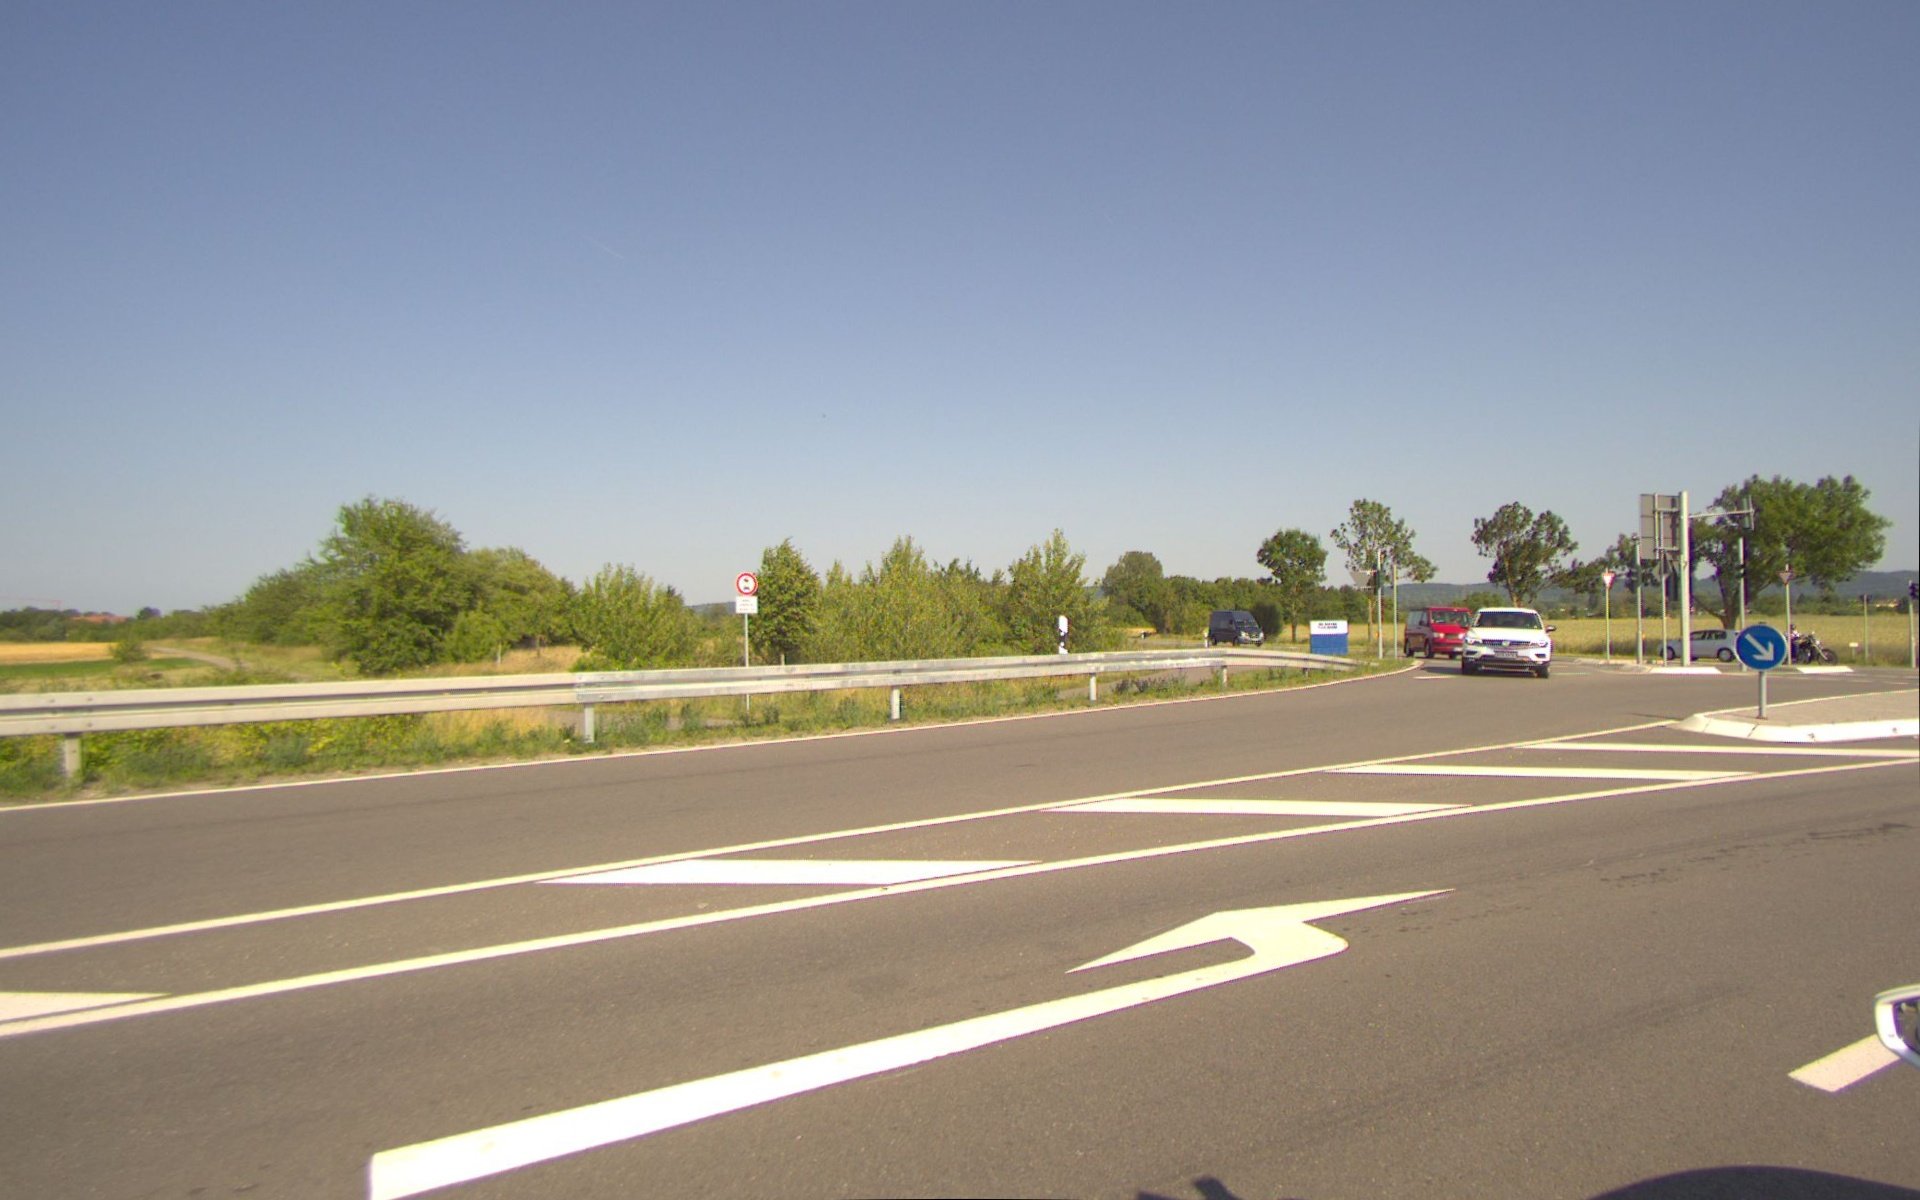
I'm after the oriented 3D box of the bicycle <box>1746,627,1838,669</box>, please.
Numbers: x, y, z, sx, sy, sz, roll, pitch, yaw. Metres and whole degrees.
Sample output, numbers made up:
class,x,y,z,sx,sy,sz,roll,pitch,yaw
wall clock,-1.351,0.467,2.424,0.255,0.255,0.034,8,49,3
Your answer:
class,x,y,z,sx,sy,sz,roll,pitch,yaw
bicycle,30.293,1.727,36.624,0.723,1.416,2.481,1,0,-27

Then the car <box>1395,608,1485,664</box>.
class,x,y,z,sx,sy,sz,roll,pitch,yaw
car,18.427,1.312,38.782,1.802,1.966,4.929,-1,0,9

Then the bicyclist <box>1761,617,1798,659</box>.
class,x,y,z,sx,sy,sz,roll,pitch,yaw
bicyclist,30.142,1.407,36.940,0.747,1.509,0.805,1,0,-26

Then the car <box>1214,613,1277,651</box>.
class,x,y,z,sx,sy,sz,roll,pitch,yaw
car,20.460,2.279,72.371,1.997,2.657,5.739,0,-1,-11

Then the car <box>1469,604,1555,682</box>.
class,x,y,z,sx,sy,sz,roll,pitch,yaw
car,13.727,1.097,24.843,1.667,1.695,4.854,1,-3,31
